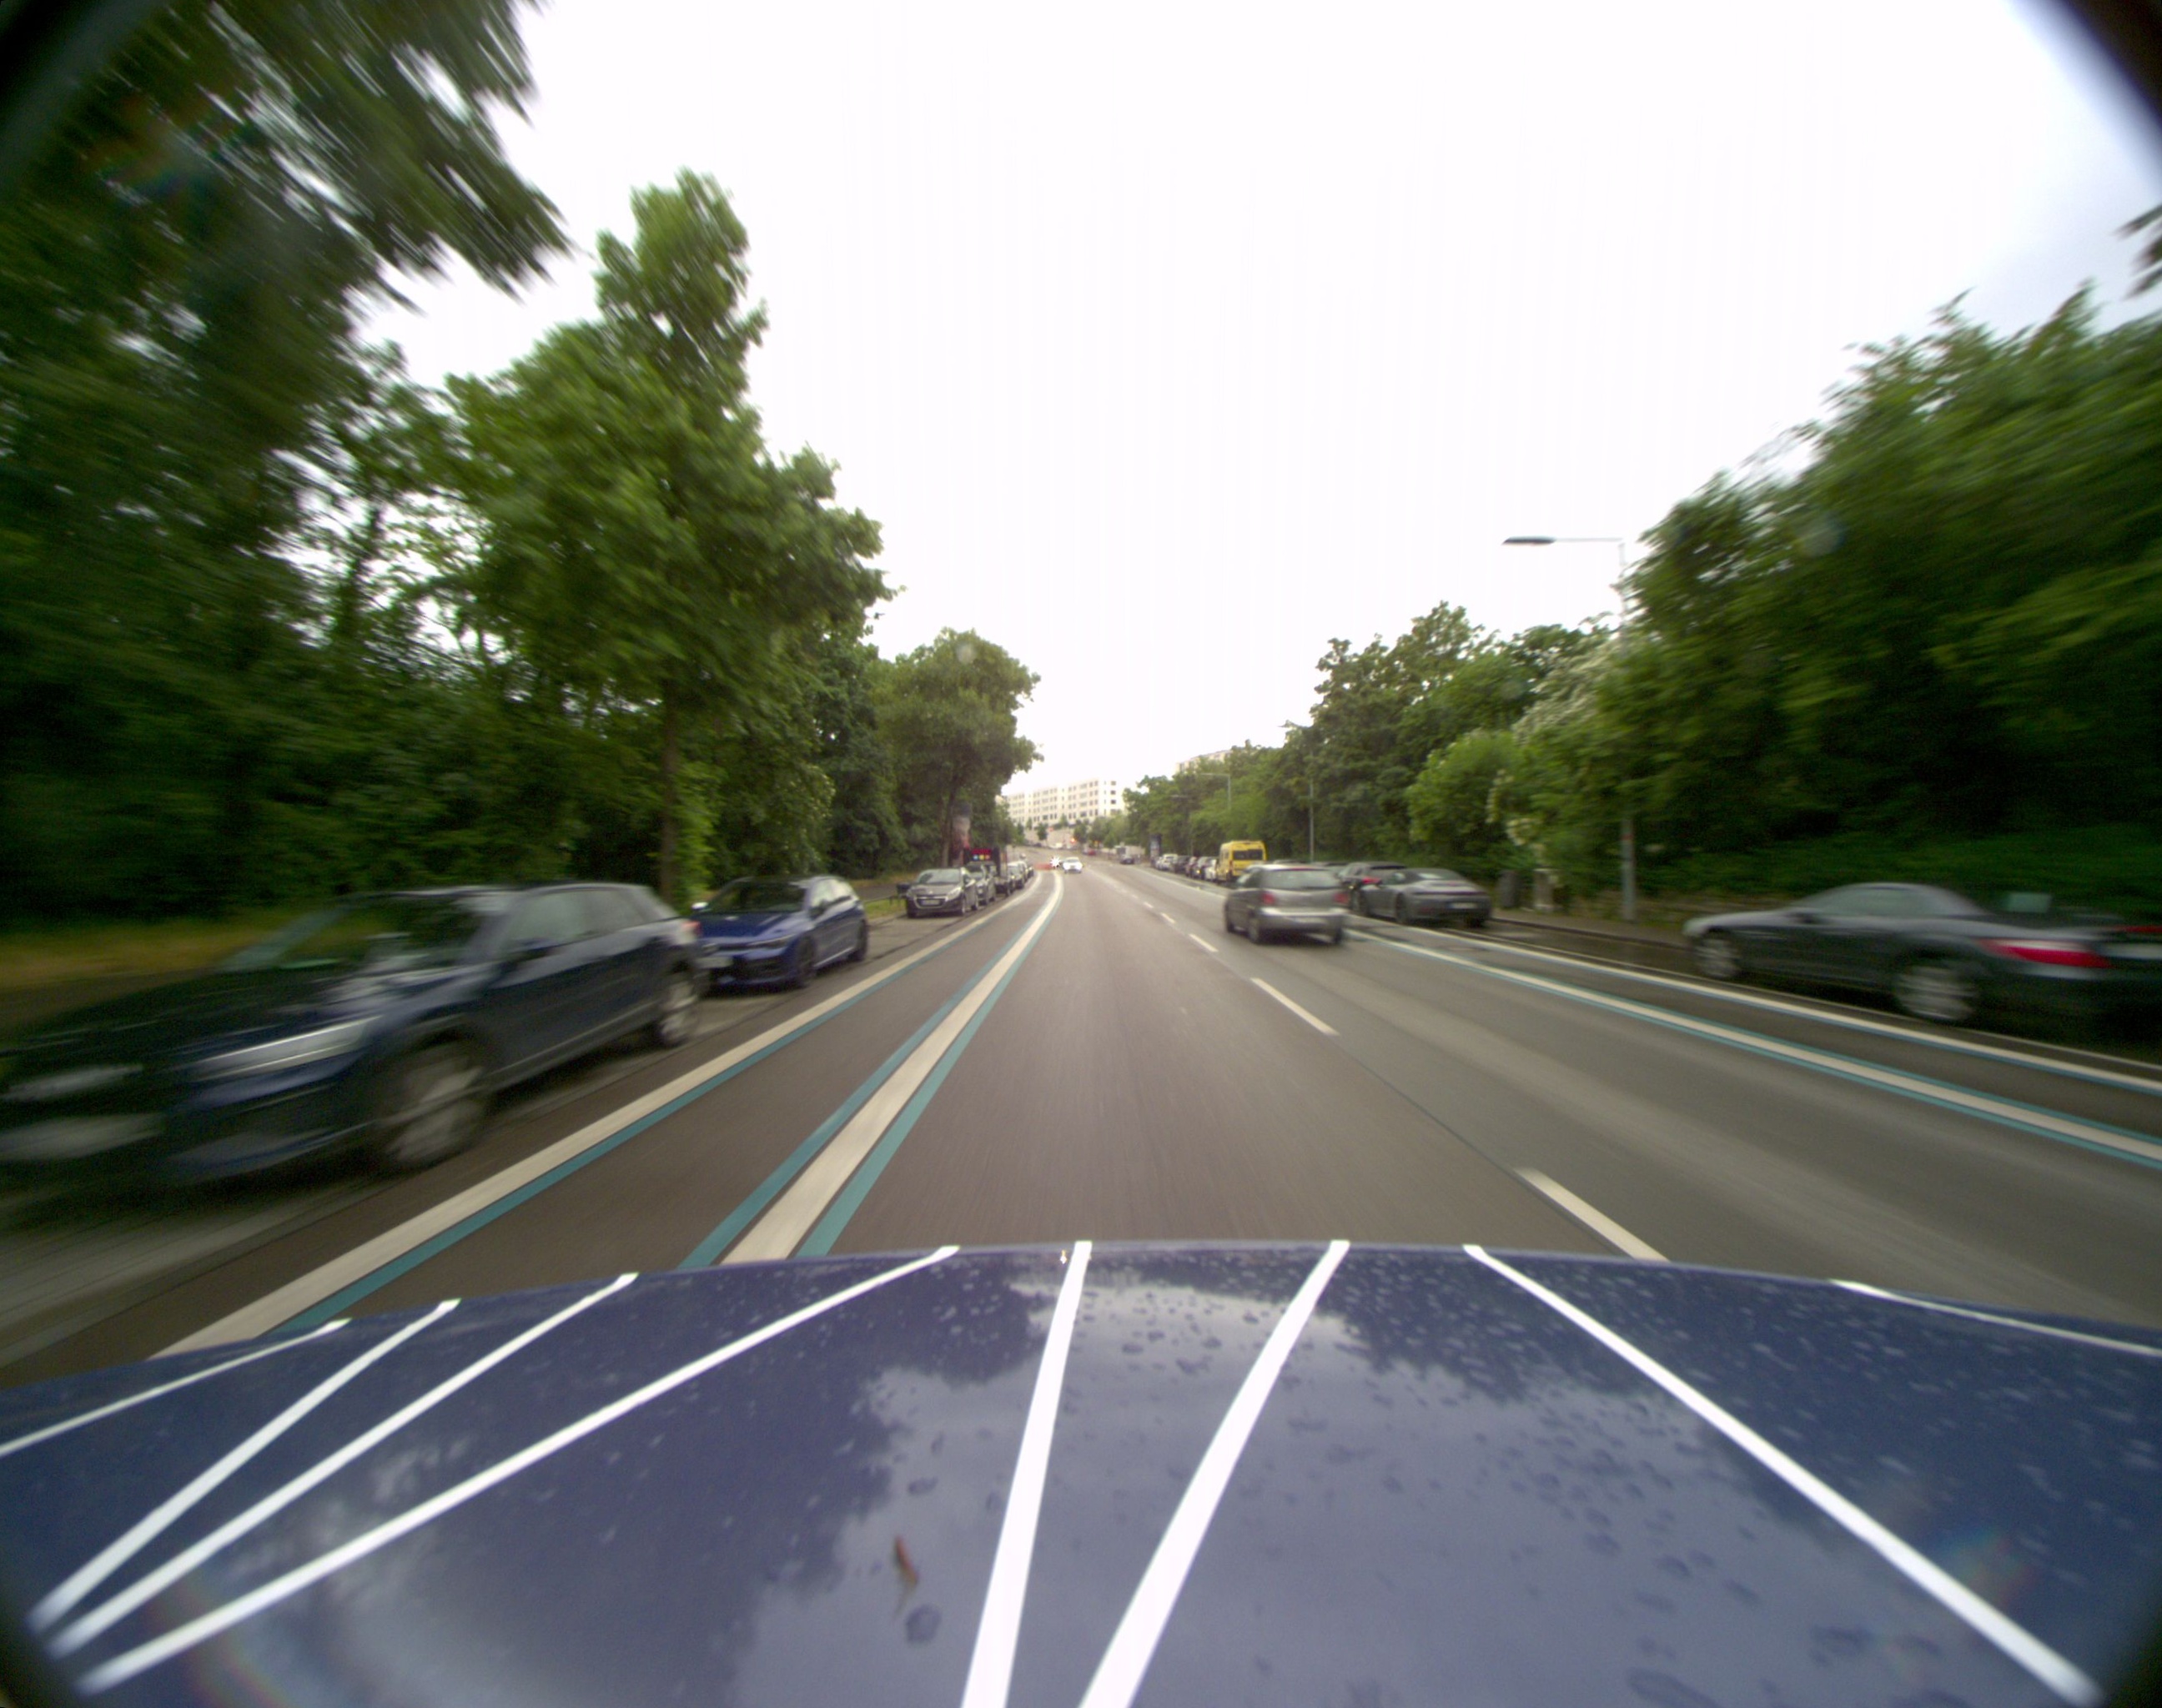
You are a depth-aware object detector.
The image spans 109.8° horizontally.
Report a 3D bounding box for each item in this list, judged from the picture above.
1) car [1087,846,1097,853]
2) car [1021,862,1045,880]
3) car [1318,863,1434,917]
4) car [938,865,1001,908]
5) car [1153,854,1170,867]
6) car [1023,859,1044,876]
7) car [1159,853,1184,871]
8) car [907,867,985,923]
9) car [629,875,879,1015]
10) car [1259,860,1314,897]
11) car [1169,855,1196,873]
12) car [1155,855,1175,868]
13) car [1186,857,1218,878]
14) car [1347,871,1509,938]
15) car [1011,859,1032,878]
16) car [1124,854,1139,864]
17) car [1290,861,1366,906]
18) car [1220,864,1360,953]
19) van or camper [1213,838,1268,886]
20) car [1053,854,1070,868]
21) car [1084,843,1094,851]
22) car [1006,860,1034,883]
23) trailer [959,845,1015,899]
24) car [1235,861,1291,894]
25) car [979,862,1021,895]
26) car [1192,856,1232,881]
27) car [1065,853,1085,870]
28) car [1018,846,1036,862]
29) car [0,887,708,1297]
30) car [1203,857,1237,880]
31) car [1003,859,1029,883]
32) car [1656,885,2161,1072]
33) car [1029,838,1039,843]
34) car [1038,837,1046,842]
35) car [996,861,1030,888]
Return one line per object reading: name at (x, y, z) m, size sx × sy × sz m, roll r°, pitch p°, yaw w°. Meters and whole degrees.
car at (2.594, -1.167, 182.171) m, size 1.670 × 1.578 × 4.212 m, roll 0°, pitch 2°, yaw -8°
car at (-4.166, 1.472, 66.331) m, size 1.861 × 1.447 × 4.750 m, roll -2°, pitch 0°, yaw -1°
car at (8.801, 1.025, 23.085) m, size 1.998 × 1.443 × 4.139 m, roll -1°, pitch 0°, yaw 2°
car at (-4.208, 1.181, 29.312) m, size 1.800 × 1.442 × 4.428 m, roll -1°, pitch 0°, yaw 0°
car at (9.776, 0.778, 92.241) m, size 1.753 × 1.437 × 4.587 m, roll -1°, pitch 0°, yaw 3°
car at (-4.634, 1.270, 73.455) m, size 1.858 × 1.391 × 4.383 m, roll -2°, pitch 1°, yaw -4°
car at (9.589, 0.811, 80.434) m, size 1.999 × 1.755 × 4.959 m, roll -1°, pitch 1°, yaw 0°
car at (-4.101, 1.204, 23.691) m, size 1.619 × 1.462 × 4.000 m, roll -2°, pitch 0°, yaw 1°
car at (-4.348, 1.113, 10.931) m, size 1.686 × 1.473 × 4.318 m, roll -2°, pitch 0°, yaw 0°
car at (9.012, 1.052, 33.523) m, size 1.606 × 1.501 × 3.139 m, roll -1°, pitch 0°, yaw 2°
car at (9.605, 0.927, 72.246) m, size 1.736 × 1.639 × 4.570 m, roll -2°, pitch 0°, yaw -3°
car at (9.603, 0.865, 86.818) m, size 1.723 × 1.451 × 4.707 m, roll -1°, pitch 0°, yaw -1°
car at (9.606, 1.044, 60.663) m, size 1.924 × 1.607 × 4.489 m, roll 0°, pitch 0°, yaw 1°
car at (8.160, 1.115, 18.380) m, size 1.874 × 1.296 × 4.470 m, roll -1°, pitch 0°, yaw 0°
car at (-4.744, 1.133, 60.812) m, size 1.564 × 1.452 × 3.675 m, roll -2°, pitch 0°, yaw -3°
car at (8.019, 0.849, 120.907) m, size 1.911 × 1.406 × 4.781 m, roll -2°, pitch 1°, yaw -1°
car at (9.063, 1.044, 28.174) m, size 1.606 × 1.501 × 3.977 m, roll -1°, pitch 0°, yaw 2°
car at (3.926, 0.957, 14.956) m, size 1.703 × 1.476 × 4.035 m, roll 0°, pitch 0°, yaw 1°
van or camper at (9.231, 0.453, 44.456) m, size 2.149 × 2.612 × 5.682 m, roll -1°, pitch 0°, yaw 1°
car at (-2.519, 0.890, 97.528) m, size 1.831 × 1.584 × 3.997 m, roll -2°, pitch 1°, yaw -6°
car at (1.913, -1.778, 187.531) m, size 1.769 × 1.644 × 4.878 m, roll -2°, pitch 3°, yaw -8°
car at (-4.453, 1.251, 55.518) m, size 1.663 × 1.456 × 3.899 m, roll -3°, pitch 0°, yaw 0°
trailer at (-4.174, 0.765, 34.361) m, size 1.911 × 2.234 × 4.767 m, roll -1°, pitch 0°, yaw 0°
car at (9.016, 1.128, 38.024) m, size 1.684 × 1.489 × 4.148 m, roll 0°, pitch 0°, yaw -2°
car at (-4.133, 1.197, 39.128) m, size 1.827 × 1.477 × 4.199 m, roll -3°, pitch 0°, yaw -3°
car at (9.434, 1.023, 55.111) m, size 1.999 × 1.690 × 4.614 m, roll -1°, pitch 0°, yaw -1°
car at (-0.658, 0.734, 77.008) m, size 1.927 × 1.652 × 3.999 m, roll -1°, pitch 0°, yaw -2°
car at (-6.055, -0.027, 84.782) m, size 1.827 × 1.605 × 4.249 m, roll -3°, pitch 1°, yaw -4°
car at (-4.353, 1.081, 5.127) m, size 1.718 × 1.504 × 3.975 m, roll -1°, pitch 0°, yaw -1°
car at (9.205, 0.946, 50.505) m, size 1.621 × 1.440 × 3.657 m, roll 0°, pitch 0°, yaw 1°
car at (-4.322, 1.135, 51.282) m, size 1.622 × 1.458 × 3.998 m, roll -2°, pitch 0°, yaw -4°
car at (8.469, 1.067, 8.061) m, size 1.700 × 1.293 × 4.193 m, roll -1°, pitch 0°, yaw 3°
car at (-15.861, -4.578, 257.323) m, size 1.866 × 1.470 × 3.990 m, roll -1°, pitch 3°, yaw -26°
car at (-12.858, -4.743, 251.383) m, size 1.683 × 1.451 × 2.689 m, roll 0°, pitch 3°, yaw -26°
car at (-4.026, 1.204, 45.353) m, size 1.756 × 1.385 × 4.444 m, roll -3°, pitch 0°, yaw -3°
